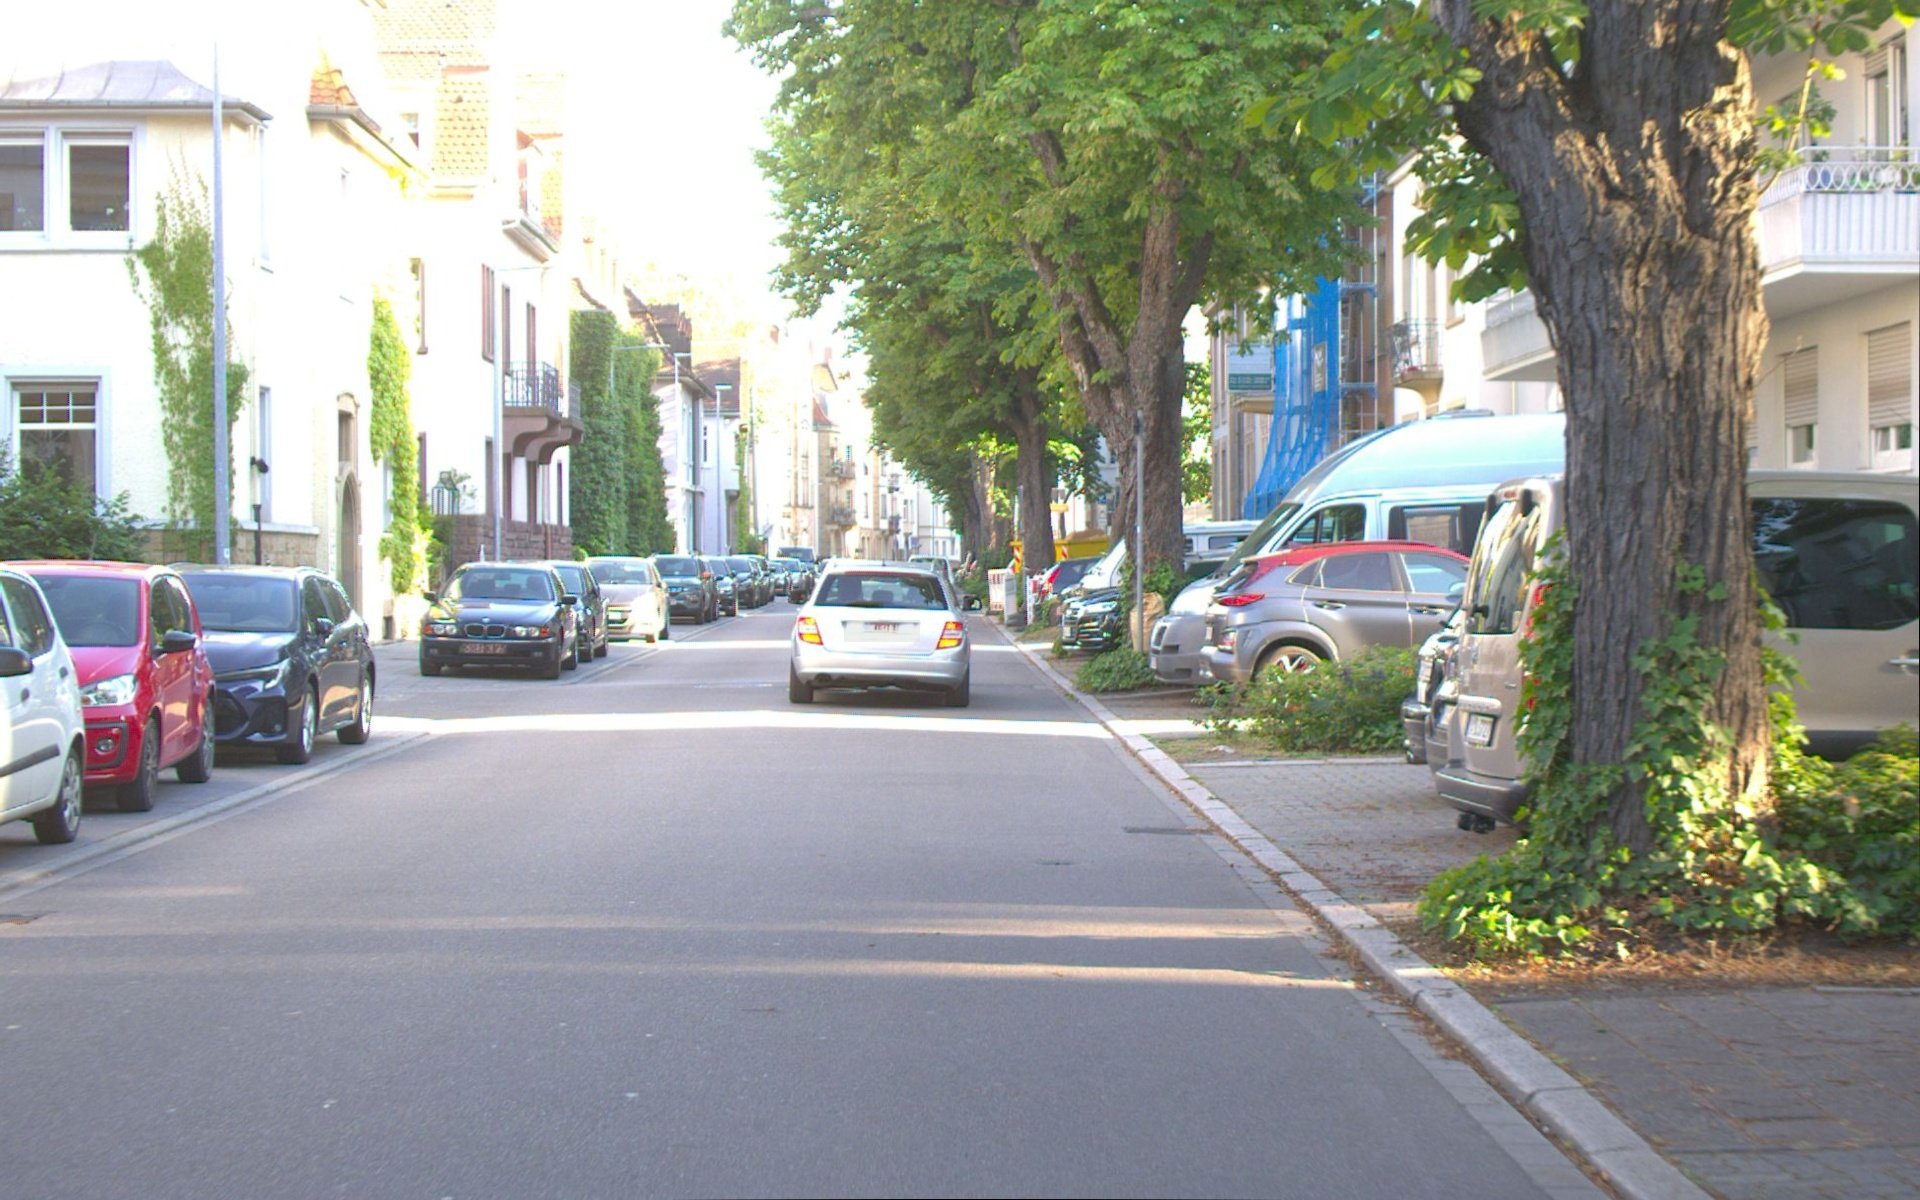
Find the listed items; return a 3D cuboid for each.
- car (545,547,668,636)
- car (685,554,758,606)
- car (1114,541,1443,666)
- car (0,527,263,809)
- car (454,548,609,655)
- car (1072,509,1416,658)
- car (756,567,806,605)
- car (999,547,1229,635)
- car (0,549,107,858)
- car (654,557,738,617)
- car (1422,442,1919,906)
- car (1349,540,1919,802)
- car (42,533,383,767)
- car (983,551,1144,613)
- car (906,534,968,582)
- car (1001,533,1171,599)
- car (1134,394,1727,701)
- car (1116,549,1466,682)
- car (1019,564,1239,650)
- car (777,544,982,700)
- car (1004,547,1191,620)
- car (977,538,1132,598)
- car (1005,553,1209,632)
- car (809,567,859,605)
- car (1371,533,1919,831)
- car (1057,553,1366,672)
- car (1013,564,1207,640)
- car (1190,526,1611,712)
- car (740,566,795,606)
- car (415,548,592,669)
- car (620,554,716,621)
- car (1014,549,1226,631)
[{"bbox_3d":[-6.171,-0.173,60.357,1.799,1.477,3.857,1,1,-1],"label":"car"},{"bbox_3d":[-6.618,-0.567,95.773,1.799,1.382,3.606,1,1,-1],"label":"car"},{"bbox_3d":[3.832,0.022,41.857,3.844,1.477,1.805,0,1,1],"label":"car"},{"bbox_3d":[-5.758,0.413,22.055,1.799,1.639,3.857,1,-1,-1],"label":"car"},{"bbox_3d":[-6.191,-0.008,50.036,1.799,1.477,3.857,1,1,-1],"label":"car"},{"bbox_3d":[3.885,-0.238,47.708,4.518,2.007,2.251,0,1,-2],"label":"car"},{"bbox_3d":[-6.987,-0.557,134.719,1.799,1.382,3.606,1,1,-1],"label":"car"},{"bbox_3d":[2.593,-0.166,58.627,3.844,1.477,1.805,0,1,1],"label":"car"},{"bbox_3d":[-5.491,0.487,17.165,1.659,1.494,3.754,1,0,-3],"label":"car"},{"bbox_3d":[-6.461,-0.335,84.300,1.799,1.382,3.606,1,1,-1],"label":"car"},{"bbox_3d":[4.258,0.295,15.182,4.129,1.915,1.891,0,1,-2],"label":"car"},{"bbox_3d":[4.306,0.408,21.074,3.594,1.536,1.650,0,1,-2],"label":"car"},{"bbox_3d":[-5.637,0.325,26.362,1.799,1.639,3.857,1,1,-1],"label":"car"},{"bbox_3d":[2.480,-0.447,83.138,3.844,1.477,1.805,0,1,1],"label":"car"},{"bbox_3d":[-0.726,-1.348,111.111,1.817,1.468,4.216,0,0,2],"label":"car"},{"bbox_3d":[2.867,-0.780,78.801,3.844,1.477,1.805,0,1,1],"label":"car"},{"bbox_3d":[4.637,-0.520,34.583,5.541,2.958,2.472,0,1,-3],"label":"car"},{"bbox_3d":[3.749,0.160,39.431,3.844,1.477,1.805,0,1,1],"label":"car"},{"bbox_3d":[2.991,0.113,61.430,3.844,1.477,1.805,0,1,1],"label":"car"},{"bbox_3d":[-0.753,0.216,34.770,1.817,1.468,4.216,0,0,2],"label":"car"},{"bbox_3d":[2.839,-0.356,71.612,3.844,1.477,1.805,0,1,1],"label":"car"},{"bbox_3d":[2.352,-0.821,86.441,3.844,1.477,1.805,0,1,1],"label":"car"},{"bbox_3d":[2.794,-0.152,65.870,3.844,1.477,1.805,0,1,1],"label":"car"},{"bbox_3d":[-4.766,-0.541,130.397,1.799,1.382,3.606,1,1,-1],"label":"car"},{"bbox_3d":[4.150,0.415,18.624,3.594,1.536,1.650,0,1,-2],"label":"car"},{"bbox_3d":[3.187,0.141,44.102,3.844,1.477,1.805,0,1,1],"label":"car"},{"bbox_3d":[2.999,0.027,69.237,3.844,1.477,1.805,0,1,1],"label":"car"},{"bbox_3d":[3.995,0.161,31.557,3.594,1.654,1.650,0,1,-2],"label":"car"},{"bbox_3d":[-7.004,-0.533,125.360,1.799,1.382,3.606,1,1,-1],"label":"car"},{"bbox_3d":[-5.884,0.075,44.686,1.799,1.477,3.857,1,1,-1],"label":"car"},{"bbox_3d":[-6.291,-0.288,74.378,1.799,1.382,3.606,1,1,-1],"label":"car"},{"bbox_3d":[2.926,-0.195,63.621,3.844,1.477,1.805,0,1,1],"label":"car"}]
